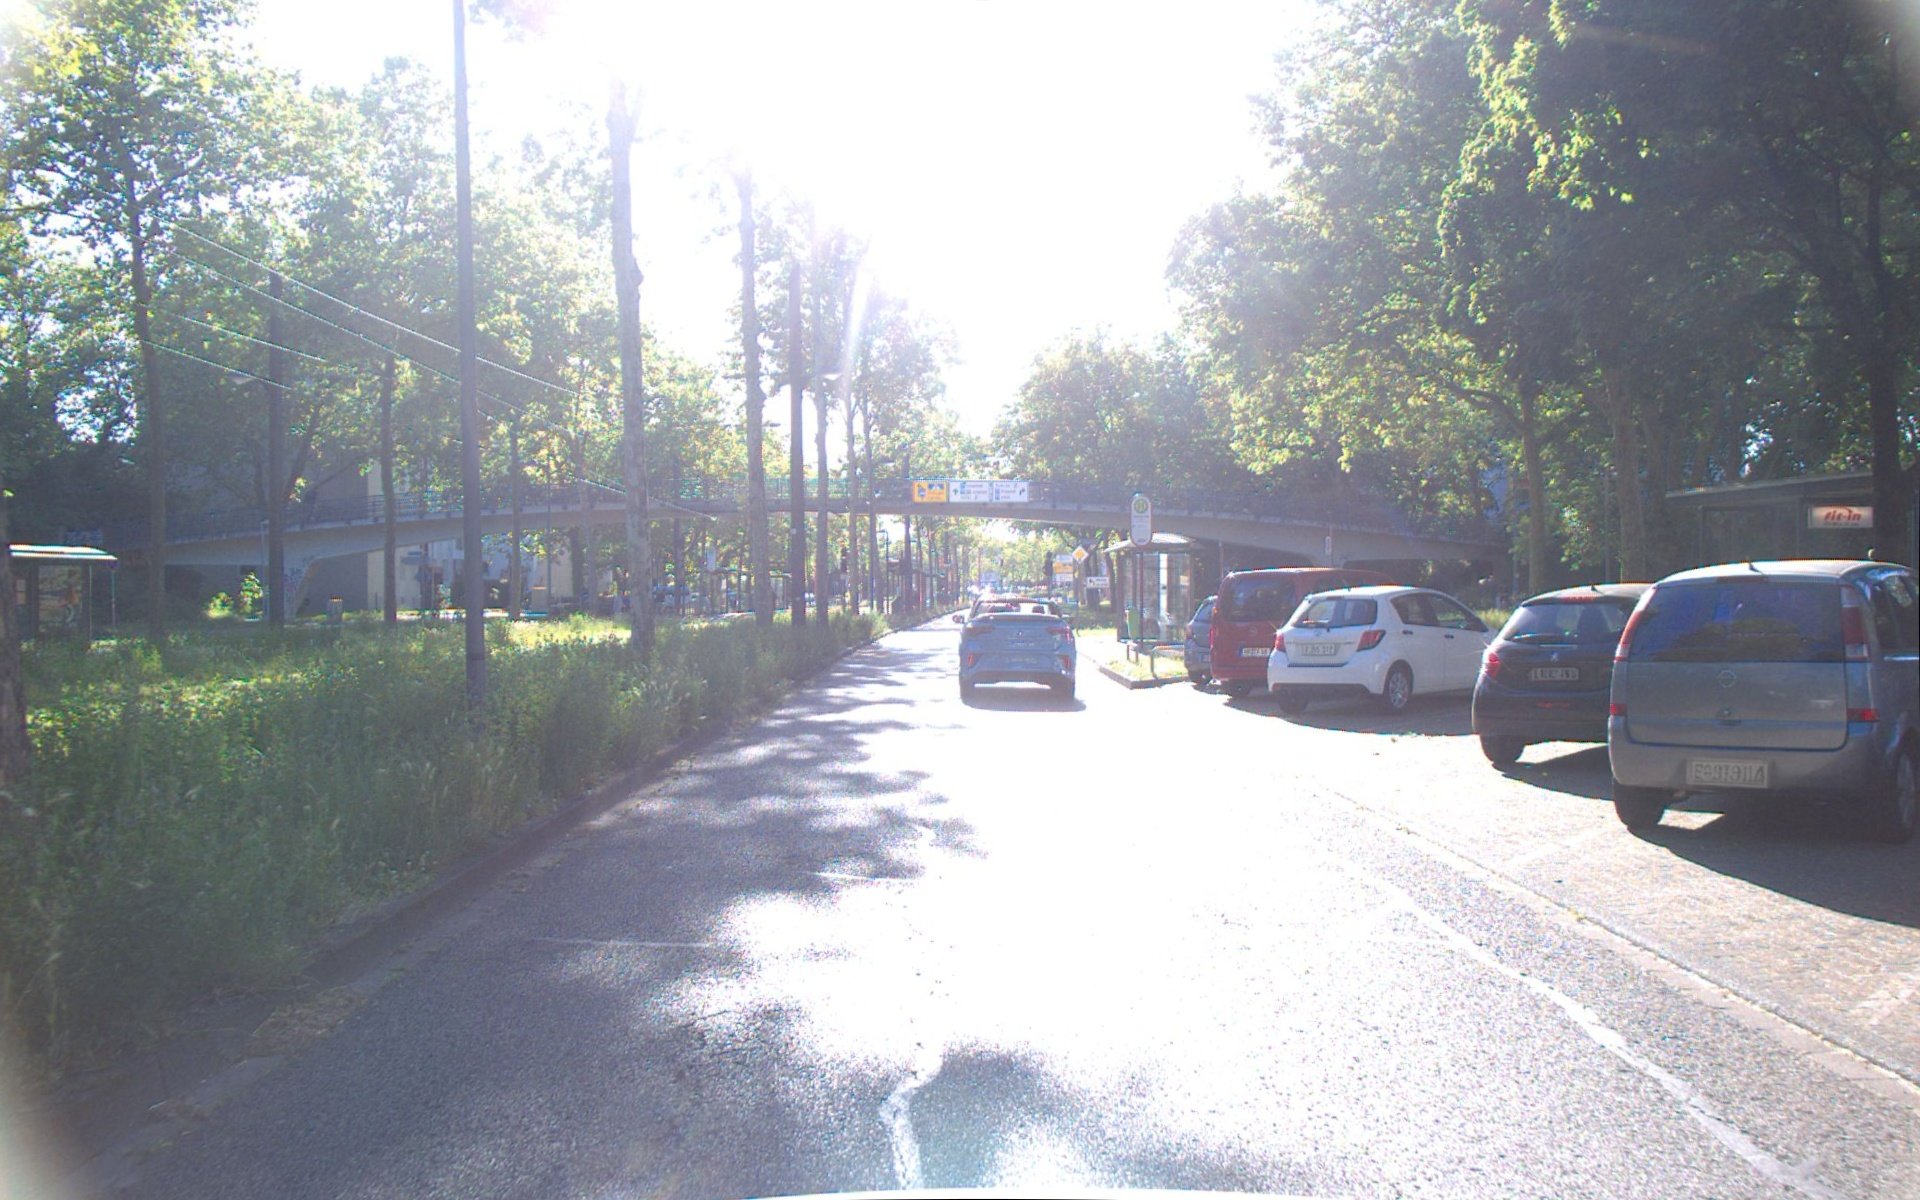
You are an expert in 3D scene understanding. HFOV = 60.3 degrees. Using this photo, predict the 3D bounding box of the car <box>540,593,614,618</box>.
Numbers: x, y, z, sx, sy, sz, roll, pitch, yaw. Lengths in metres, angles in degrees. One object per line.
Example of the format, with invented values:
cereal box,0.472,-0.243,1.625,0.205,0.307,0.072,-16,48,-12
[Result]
car,-23.803,0.368,102.741,4.156,1.453,1.678,1,1,-38

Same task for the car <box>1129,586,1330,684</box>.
car,4.695,0.571,28.513,1.493,1.498,3.803,-2,0,44

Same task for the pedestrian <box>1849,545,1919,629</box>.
pedestrian,19.476,-0.275,34.838,1.106,1.738,0.731,-1,0,-9

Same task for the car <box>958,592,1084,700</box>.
car,0.881,0.657,26.097,1.740,1.509,4.099,2,0,-1

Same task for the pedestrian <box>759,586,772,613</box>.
pedestrian,-12.387,-0.019,105.251,0.698,1.663,0.731,-1,0,1

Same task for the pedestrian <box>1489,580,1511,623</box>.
pedestrian,22.922,0.061,70.247,0.646,1.808,0.738,0,1,-8

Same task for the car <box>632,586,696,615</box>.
car,-22.410,0.064,125.278,4.453,2.099,1.875,1,1,-38

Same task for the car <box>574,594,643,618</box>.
car,-23.204,0.411,109.256,4.156,1.453,1.678,1,1,-38

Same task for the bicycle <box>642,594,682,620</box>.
bicycle,-14.317,0.327,79.408,1.795,1.167,0.814,2,1,-6

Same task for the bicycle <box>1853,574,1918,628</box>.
bicycle,22.503,0.032,40.250,0.564,1.275,1.806,1,0,-1

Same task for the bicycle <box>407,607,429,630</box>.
bicycle,-24.964,0.859,76.166,0.425,1.026,1.687,1,0,1

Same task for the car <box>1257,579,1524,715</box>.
car,5.550,0.553,21.108,3.600,1.521,1.655,-2,0,-44

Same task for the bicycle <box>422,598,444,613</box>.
bicycle,-35.205,0.359,110.489,0.681,0.944,2.595,1,1,-2

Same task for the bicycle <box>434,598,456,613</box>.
bicycle,-34.384,0.373,110.473,0.681,0.944,2.595,1,1,-2

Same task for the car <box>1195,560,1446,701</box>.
car,5.396,0.397,24.481,3.922,1.875,1.740,-2,0,-44

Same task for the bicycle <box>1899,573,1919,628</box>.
bicycle,22.475,0.023,38.172,0.564,1.275,1.806,1,0,-1

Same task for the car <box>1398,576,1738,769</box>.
car,5.639,0.576,15.111,1.652,1.484,3.723,-2,0,42

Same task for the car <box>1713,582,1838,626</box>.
car,30.067,0.129,61.026,3.900,1.521,1.664,0,2,-11

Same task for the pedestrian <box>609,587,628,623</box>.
pedestrian,-16.589,0.236,80.442,0.710,1.703,1.048,1,0,-2

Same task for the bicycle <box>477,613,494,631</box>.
bicycle,-21.969,1.011,76.589,0.425,0.792,1.174,1,0,1

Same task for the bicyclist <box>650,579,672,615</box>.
bicyclist,-14.359,-0.153,79.421,0.935,1.660,0.814,1,1,-6

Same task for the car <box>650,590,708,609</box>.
car,-22.776,-0.054,134.286,1.867,1.530,4.472,2,1,42

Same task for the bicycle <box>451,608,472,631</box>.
bicycle,-23.144,0.893,76.795,0.425,1.026,1.687,1,0,1

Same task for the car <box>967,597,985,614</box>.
car,1.581,0.537,163.991,1.675,1.631,3.350,0,0,1

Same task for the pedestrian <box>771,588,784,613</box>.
pedestrian,-11.523,0.026,104.217,0.668,1.540,0.644,-2,0,2

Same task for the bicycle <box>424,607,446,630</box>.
bicycle,-24.542,0.871,77.294,0.425,1.026,1.687,1,0,1

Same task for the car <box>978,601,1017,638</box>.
car,1.957,0.995,85.823,1.941,1.823,4.615,1,0,1

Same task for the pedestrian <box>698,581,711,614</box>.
pedestrian,-13.839,-0.146,89.529,0.499,1.801,0.477,1,-1,-39

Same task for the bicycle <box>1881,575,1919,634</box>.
bicycle,21.108,0.107,36.479,0.564,1.275,1.806,1,0,-1

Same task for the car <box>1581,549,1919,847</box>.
car,5.693,0.499,10.985,1.670,1.618,3.700,-2,1,42

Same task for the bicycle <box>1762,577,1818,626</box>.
bicycle,22.199,0.043,44.242,0.564,1.275,1.806,1,0,-1
